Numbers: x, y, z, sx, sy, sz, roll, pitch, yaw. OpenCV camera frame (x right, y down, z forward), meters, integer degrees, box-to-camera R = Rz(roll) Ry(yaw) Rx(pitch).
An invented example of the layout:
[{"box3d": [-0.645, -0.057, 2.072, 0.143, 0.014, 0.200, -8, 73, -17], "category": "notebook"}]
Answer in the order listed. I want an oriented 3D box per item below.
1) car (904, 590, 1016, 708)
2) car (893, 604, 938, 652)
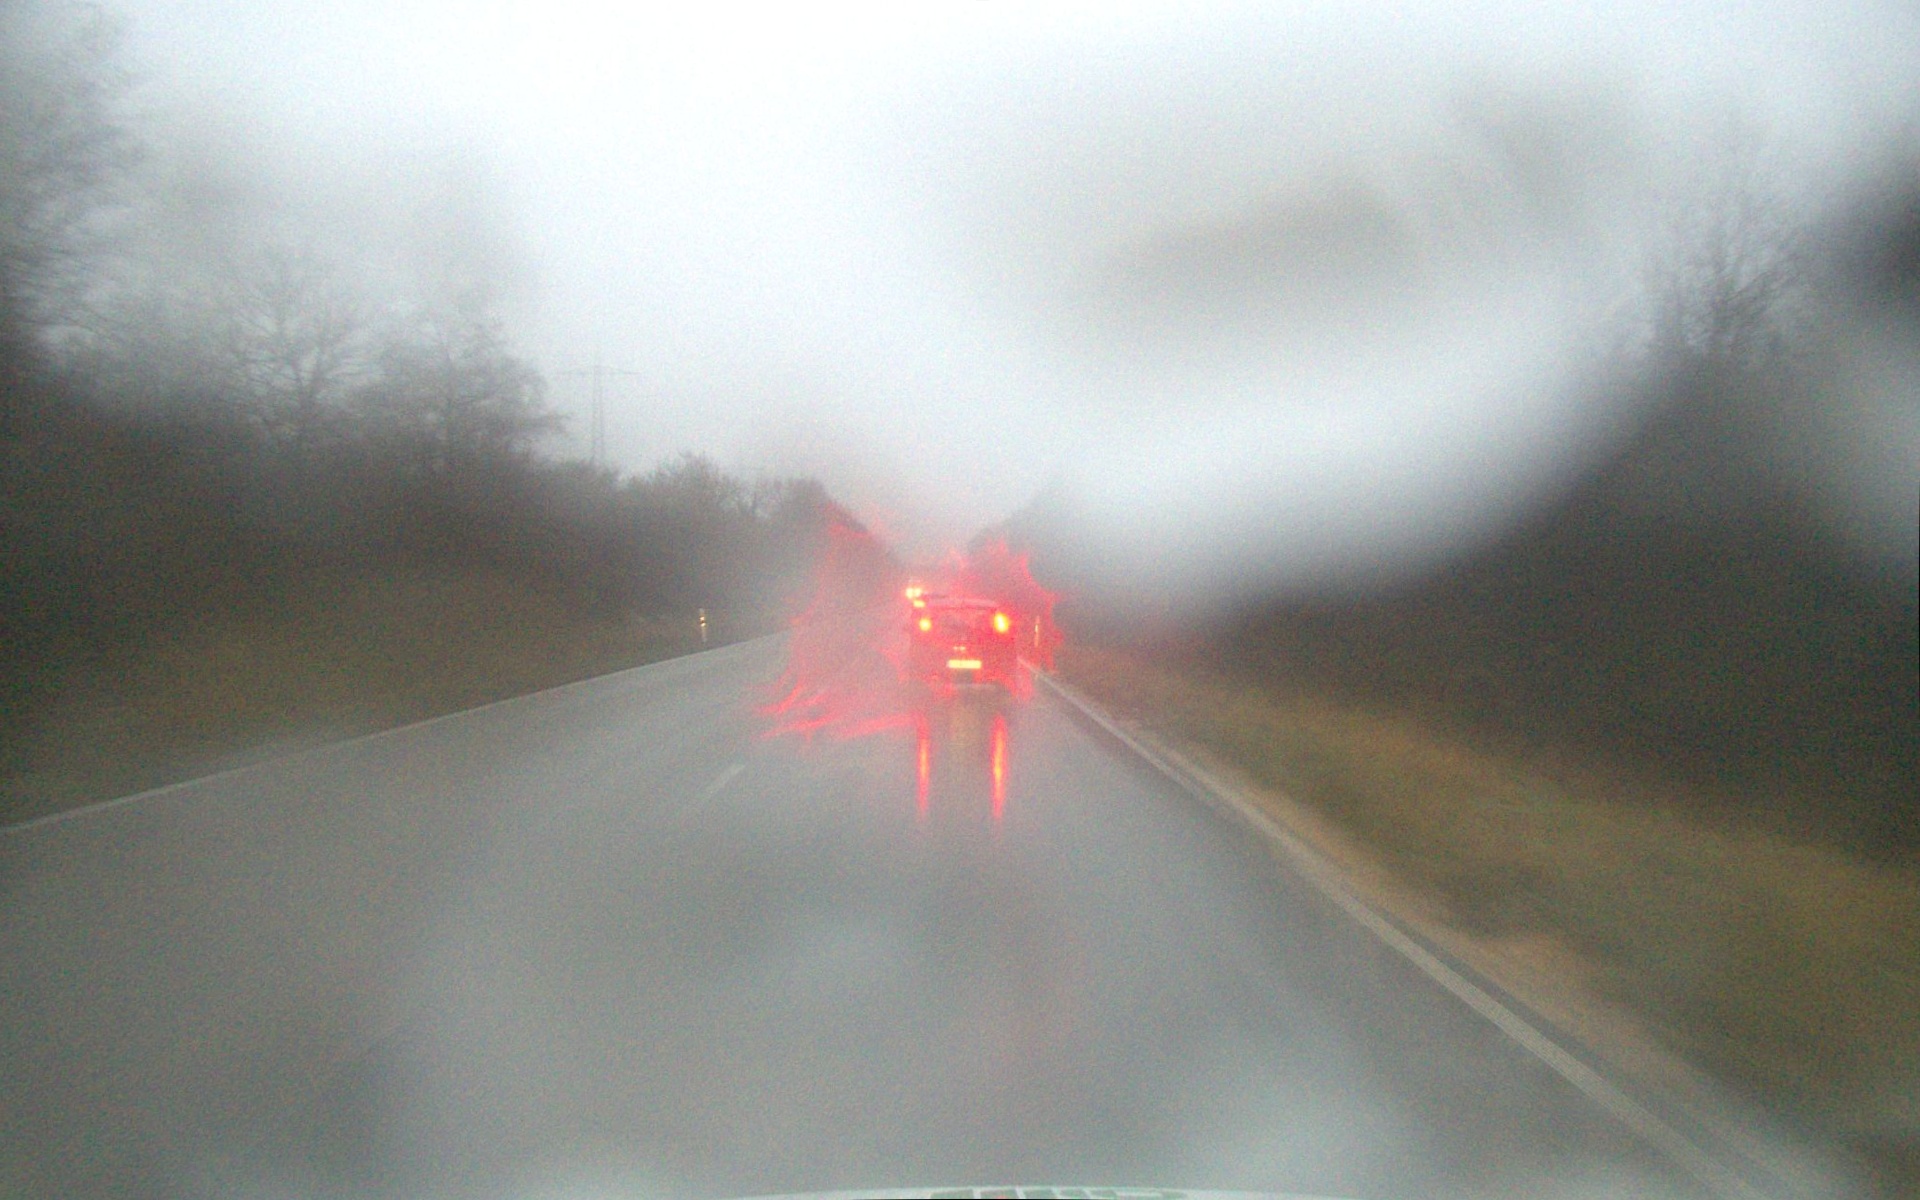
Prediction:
[{"box3d": [-0.023, 0.721, 26.157, 1.614, 1.701, 3.513, 1, 0, -1], "category": "car"}, {"box3d": [-1.762, 1.094, 65.997, 1.698, 1.810, 3.999, 1, 0, -1], "category": "car"}]
